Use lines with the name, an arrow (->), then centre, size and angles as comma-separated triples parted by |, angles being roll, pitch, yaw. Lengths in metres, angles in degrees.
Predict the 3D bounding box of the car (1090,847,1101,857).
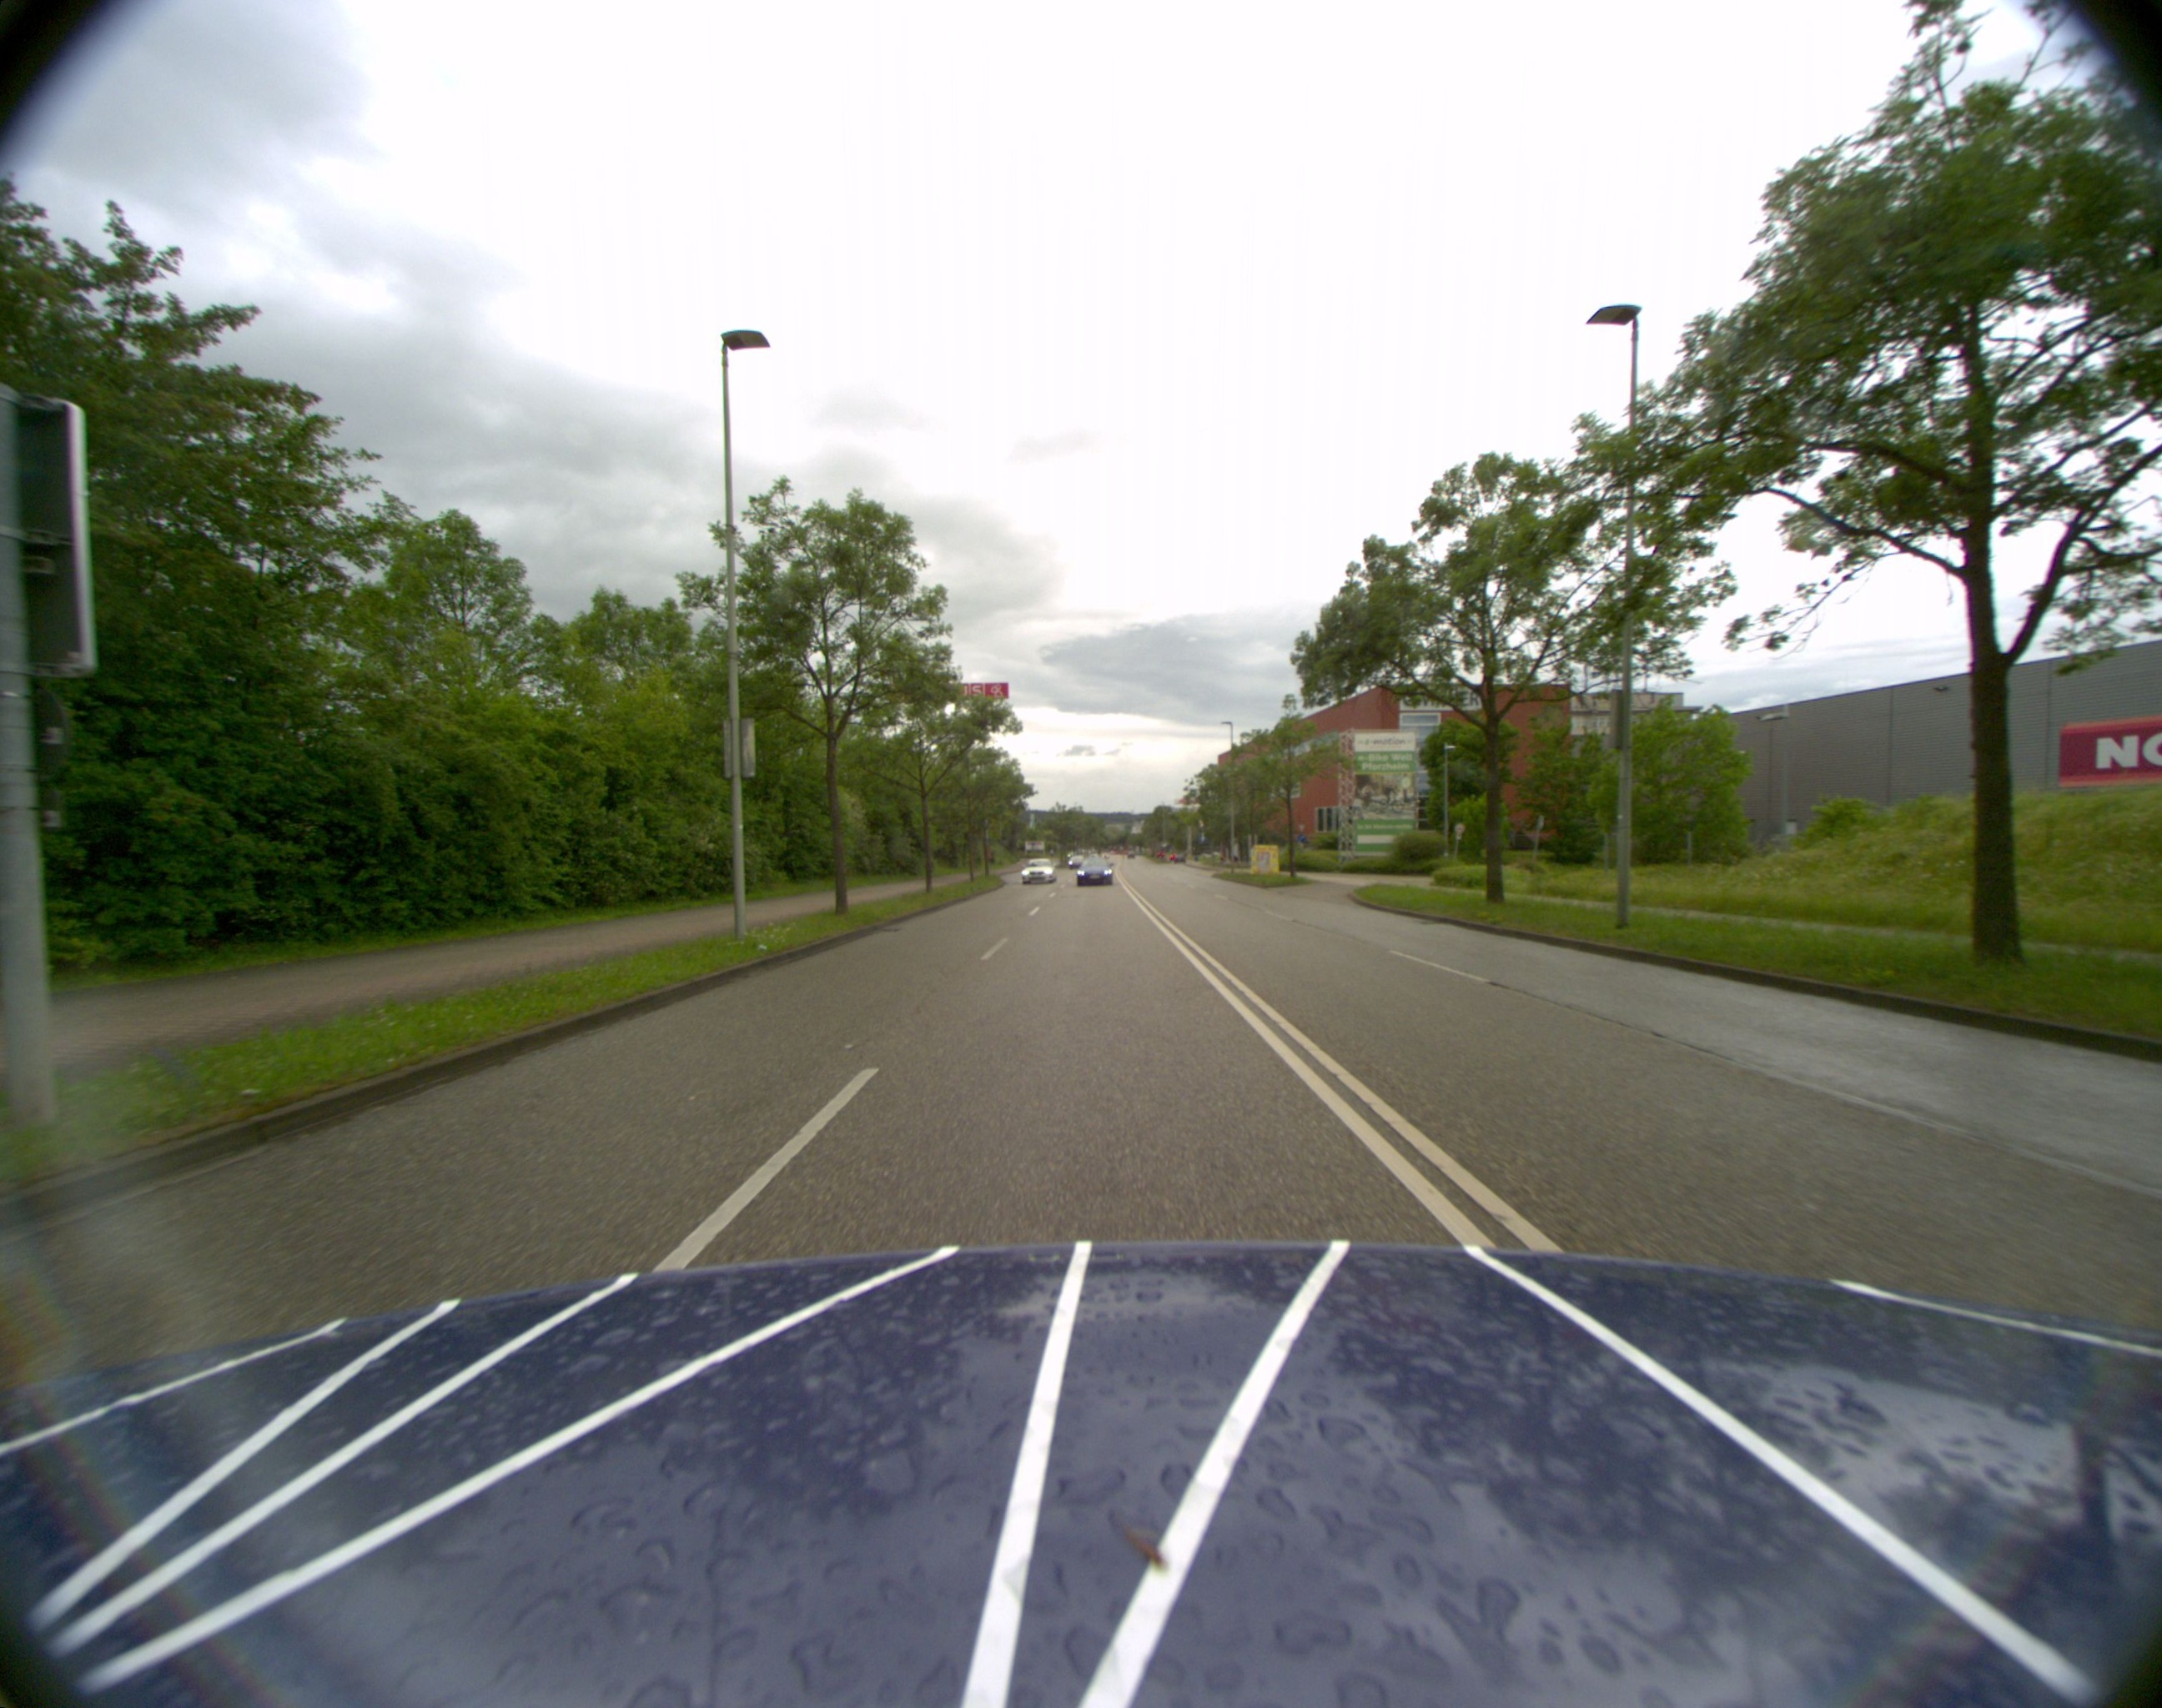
car -> 2.503, -0.308, 133.570 | 1.853, 1.565, 3.998 | -2, 2, 0

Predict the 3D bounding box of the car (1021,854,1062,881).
car -> -2.342, 0.772, 46.124 | 1.863, 1.473, 4.001 | -2, 1, 5

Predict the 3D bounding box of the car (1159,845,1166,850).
car -> 24.196, -1.969, 226.600 | 1.831, 1.608, 4.002 | -2, 0, 9

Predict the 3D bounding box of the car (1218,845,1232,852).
car -> 30.001, -1.148, 158.602 | 1.833, 1.608, 4.437 | -1, 1, -4

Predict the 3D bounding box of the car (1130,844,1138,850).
car -> 12.991, -1.662, 187.109 | 1.863, 1.568, 4.321 | 1, 0, 3

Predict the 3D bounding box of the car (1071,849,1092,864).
car -> 0.072, 0.278, 88.811 | 2.113, 1.610, 4.840 | -2, 1, 3

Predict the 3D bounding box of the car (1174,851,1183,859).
car -> 19.761, 0.164, 154.702 | 1.679, 1.498, 4.218 | 0, 1, 5

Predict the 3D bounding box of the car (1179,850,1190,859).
car -> 16.985, 0.091, 124.639 | 1.740, 1.445, 4.001 | 1, 1, 6

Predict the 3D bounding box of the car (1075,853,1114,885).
car -> 0.751, 0.709, 39.554 | 1.827, 1.473, 4.840 | -2, 1, 3
